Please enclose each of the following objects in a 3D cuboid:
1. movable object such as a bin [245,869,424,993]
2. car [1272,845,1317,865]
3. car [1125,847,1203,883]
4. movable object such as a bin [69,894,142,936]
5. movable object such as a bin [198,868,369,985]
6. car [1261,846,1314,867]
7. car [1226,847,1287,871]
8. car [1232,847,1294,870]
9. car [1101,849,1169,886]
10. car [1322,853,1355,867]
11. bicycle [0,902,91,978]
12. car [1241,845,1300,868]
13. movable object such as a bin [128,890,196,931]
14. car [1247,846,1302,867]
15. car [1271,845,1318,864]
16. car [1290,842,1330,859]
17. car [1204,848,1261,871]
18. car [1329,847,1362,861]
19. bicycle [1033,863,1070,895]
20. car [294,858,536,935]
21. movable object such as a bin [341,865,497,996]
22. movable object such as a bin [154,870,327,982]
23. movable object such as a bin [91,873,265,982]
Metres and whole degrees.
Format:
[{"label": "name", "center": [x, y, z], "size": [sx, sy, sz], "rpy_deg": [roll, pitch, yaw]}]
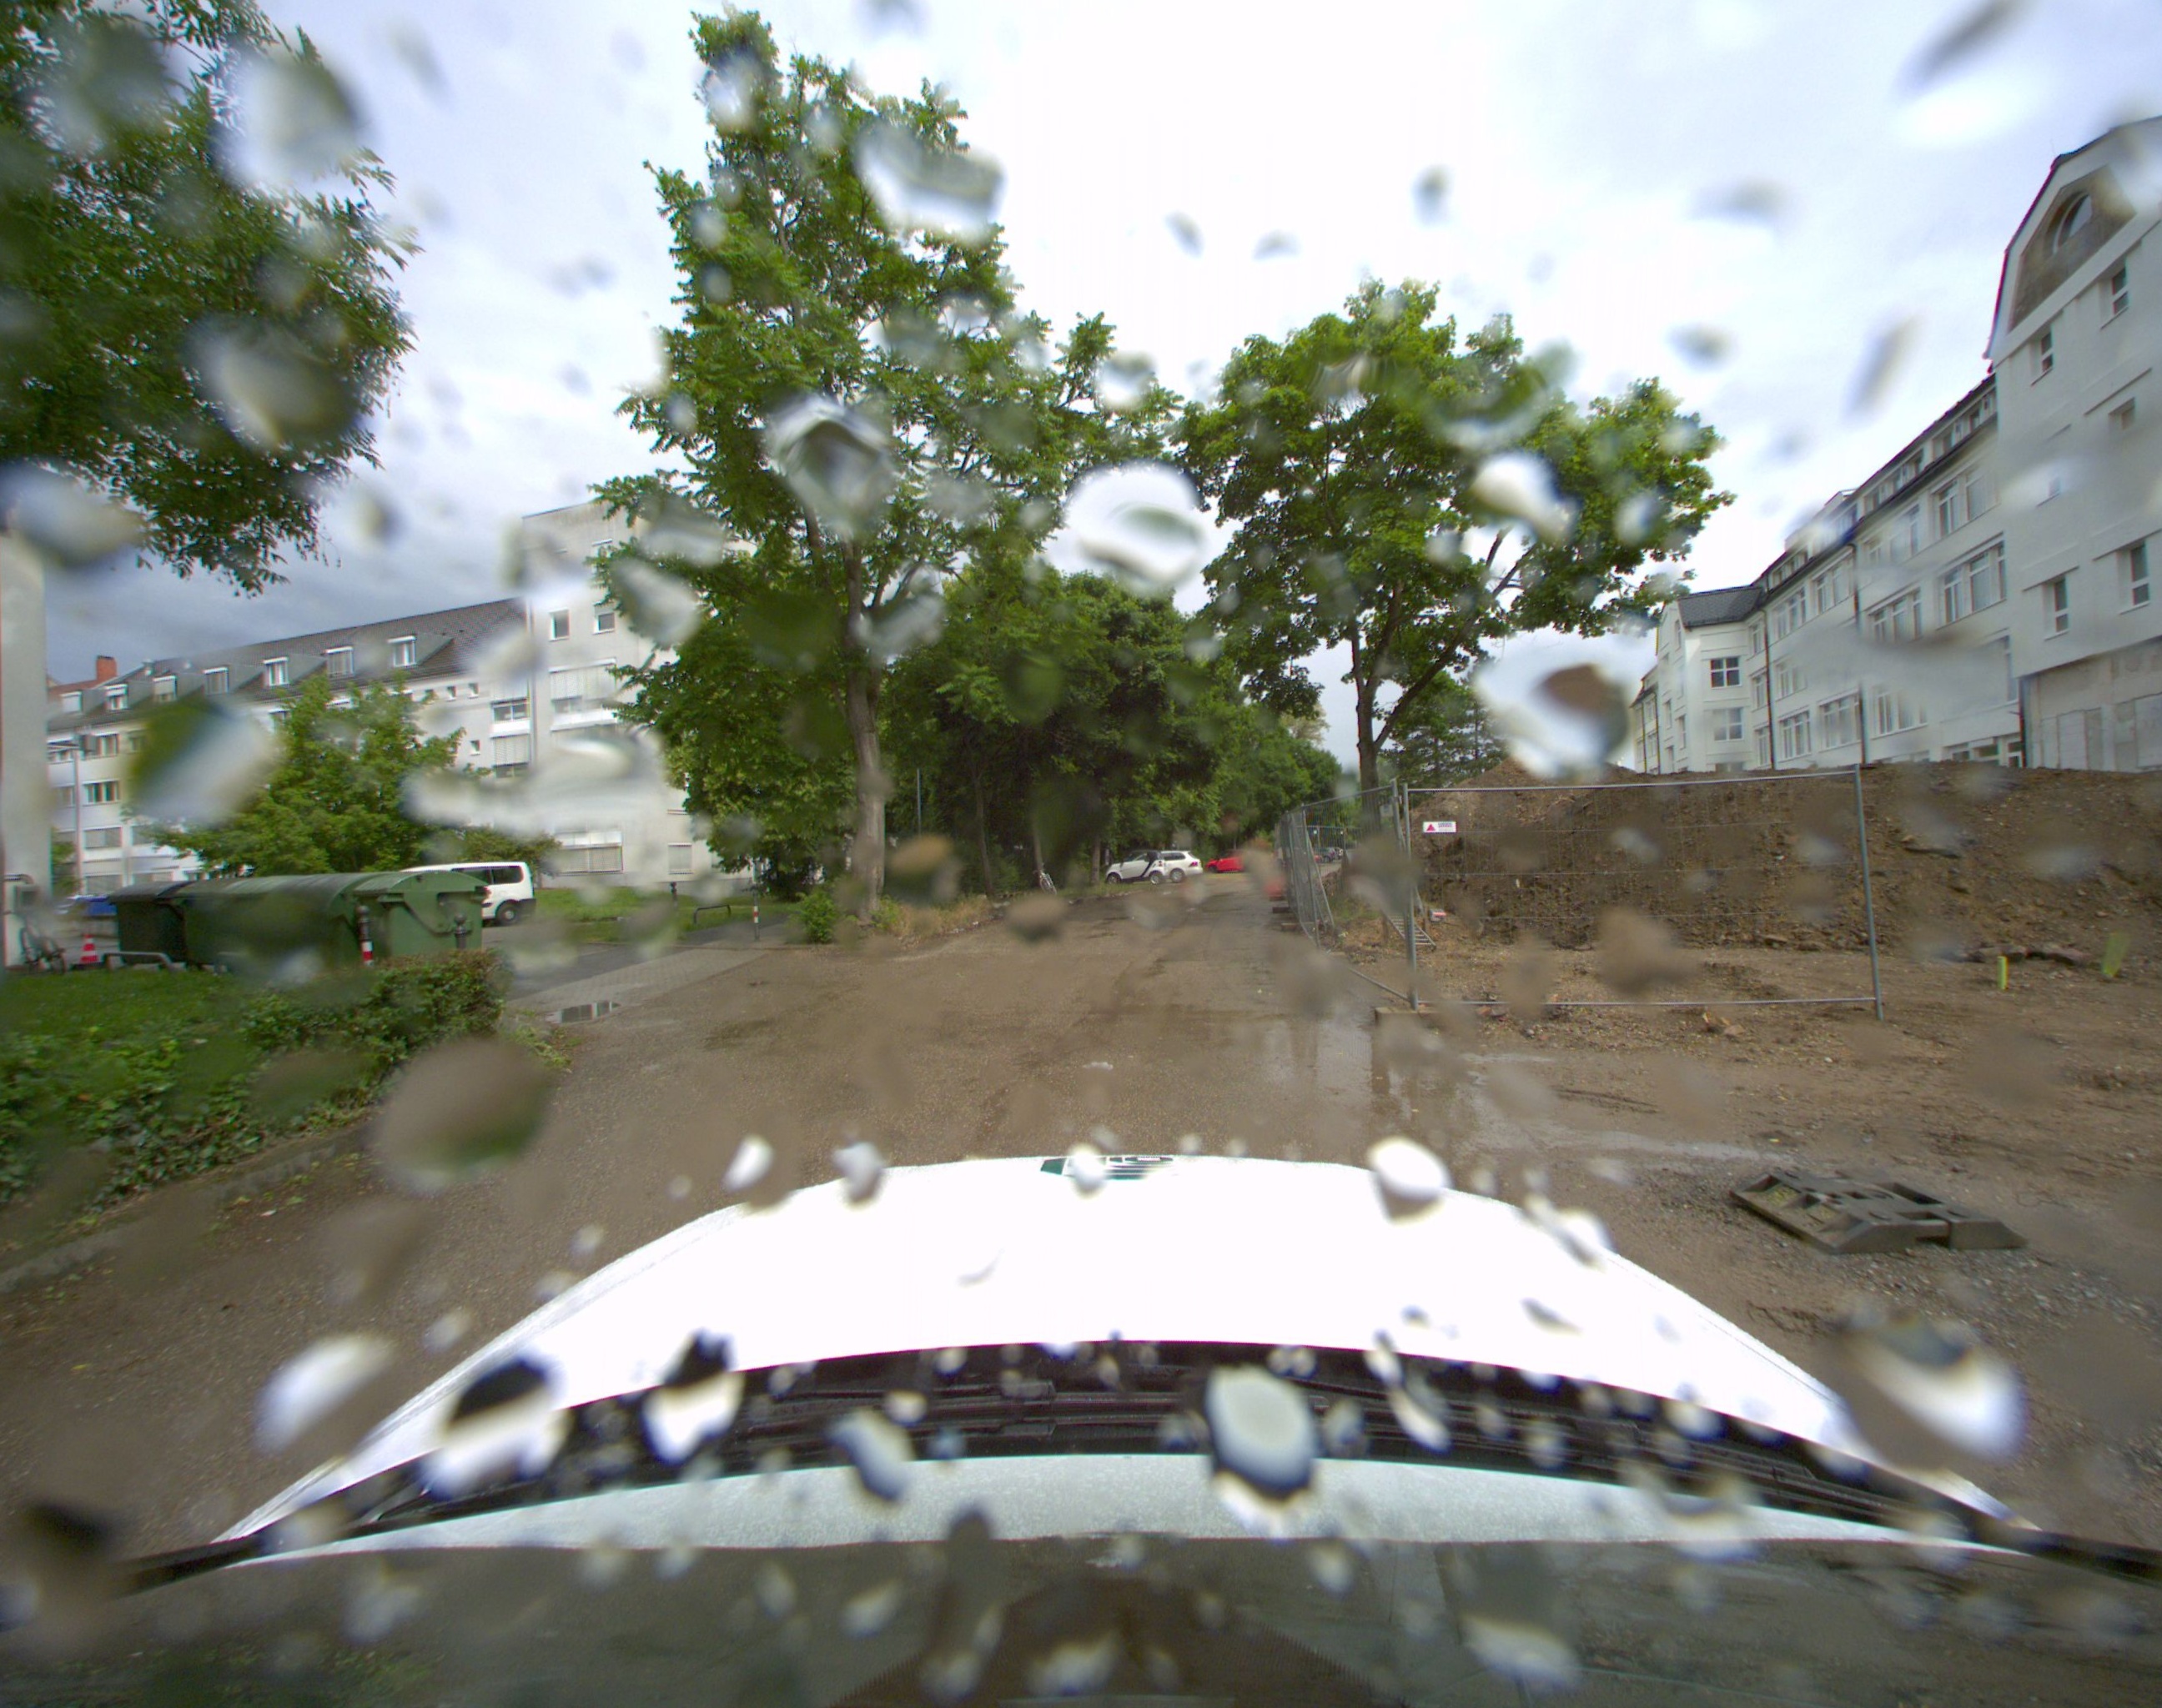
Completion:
[{"label": "movable object such as a bin", "center": [-9.701, 0.945, 10.623], "size": [1.387, 1.483, 1.173], "rpy_deg": [-1, 0, 17]}, {"label": "car", "center": [18.071, 0.086, 68.884], "size": [3.559, 1.620, 1.878], "rpy_deg": [-1, 1, 17]}, {"label": "car", "center": [3.903, 0.491, 38.001], "size": [3.409, 1.468, 1.746], "rpy_deg": [-2, 1, 11]}, {"label": "movable object such as a bin", "center": [-33.519, 2.081, 28.000], "size": [1.082, 1.292, 1.350], "rpy_deg": [-2, 1, 26]}, {"label": "movable object such as a bin", "center": [-10.973, 0.961, 11.235], "size": [1.386, 1.483, 1.174], "rpy_deg": [-2, -1, 19]}, {"label": "car", "center": [16.787, 0.207, 66.225], "size": [3.953, 1.560, 1.773], "rpy_deg": [-1, 1, 21]}, {"label": "car", "center": [12.116, 0.355, 56.093], "size": [3.759, 1.529, 1.920], "rpy_deg": [-1, 1, 24]}, {"label": "car", "center": [12.976, 0.322, 58.070], "size": [3.951, 1.496, 2.005], "rpy_deg": [-1, 1, 23]}, {"label": "car", "center": [2.395, 0.576, 35.913], "size": [2.735, 1.484, 1.598], "rpy_deg": [-2, 1, 12]}, {"label": "car", "center": [31.498, 0.747, 99.478], "size": [3.720, 1.639, 1.680], "rpy_deg": [-1, 1, 20]}, {"label": "bicycle", "center": [-16.716, 1.370, 13.067], "size": [1.501, 1.116, 0.621], "rpy_deg": [-3, 0, 24]}, {"label": "car", "center": [14.142, 0.174, 60.815], "size": [4.074, 1.650, 1.856], "rpy_deg": [-1, 1, 19]}, {"label": "movable object such as a bin", "center": [-32.970, 2.010, 29.237], "size": [1.182, 1.336, 1.305], "rpy_deg": [-3, 0, 26]}, {"label": "car", "center": [15.005, 0.208, 63.019], "size": [3.909, 1.516, 1.815], "rpy_deg": [-1, 1, 19]}, {"label": "car", "center": [18.654, 0.009, 71.141], "size": [3.824, 1.573, 1.968], "rpy_deg": [-1, 1, 20]}, {"label": "car", "center": [23.474, -0.359, 83.371], "size": [3.824, 1.573, 1.968], "rpy_deg": [-1, 1, 20]}, {"label": "car", "center": [9.695, 0.354, 52.037], "size": [3.253, 1.425, 1.602], "rpy_deg": [-1, 1, 27]}, {"label": "car", "center": [34.241, 0.002, 105.496], "size": [3.953, 1.711, 1.923], "rpy_deg": [-1, 1, 20]}, {"label": "bicycle", "center": [-0.872, 0.730, 24.365], "size": [0.471, 0.860, 1.464], "rpy_deg": [-1, 1, 25]}, {"label": "car", "center": [-18.901, 1.146, 23.424], "size": [2.073, 1.926, 4.918], "rpy_deg": [-3, -2, 26]}, {"label": "movable object such as a bin", "center": [-8.253, 0.908, 10.157], "size": [1.466, 1.473, 1.112], "rpy_deg": [-3, -2, 34]}, {"label": "movable object such as a bin", "center": [-12.267, 1.028, 11.921], "size": [1.480, 1.483, 1.174], "rpy_deg": [-3, 1, 19]}, {"label": "movable object such as a bin", "center": [-13.728, 1.100, 12.407], "size": [1.576, 1.483, 1.174], "rpy_deg": [-3, 1, 19]}]
